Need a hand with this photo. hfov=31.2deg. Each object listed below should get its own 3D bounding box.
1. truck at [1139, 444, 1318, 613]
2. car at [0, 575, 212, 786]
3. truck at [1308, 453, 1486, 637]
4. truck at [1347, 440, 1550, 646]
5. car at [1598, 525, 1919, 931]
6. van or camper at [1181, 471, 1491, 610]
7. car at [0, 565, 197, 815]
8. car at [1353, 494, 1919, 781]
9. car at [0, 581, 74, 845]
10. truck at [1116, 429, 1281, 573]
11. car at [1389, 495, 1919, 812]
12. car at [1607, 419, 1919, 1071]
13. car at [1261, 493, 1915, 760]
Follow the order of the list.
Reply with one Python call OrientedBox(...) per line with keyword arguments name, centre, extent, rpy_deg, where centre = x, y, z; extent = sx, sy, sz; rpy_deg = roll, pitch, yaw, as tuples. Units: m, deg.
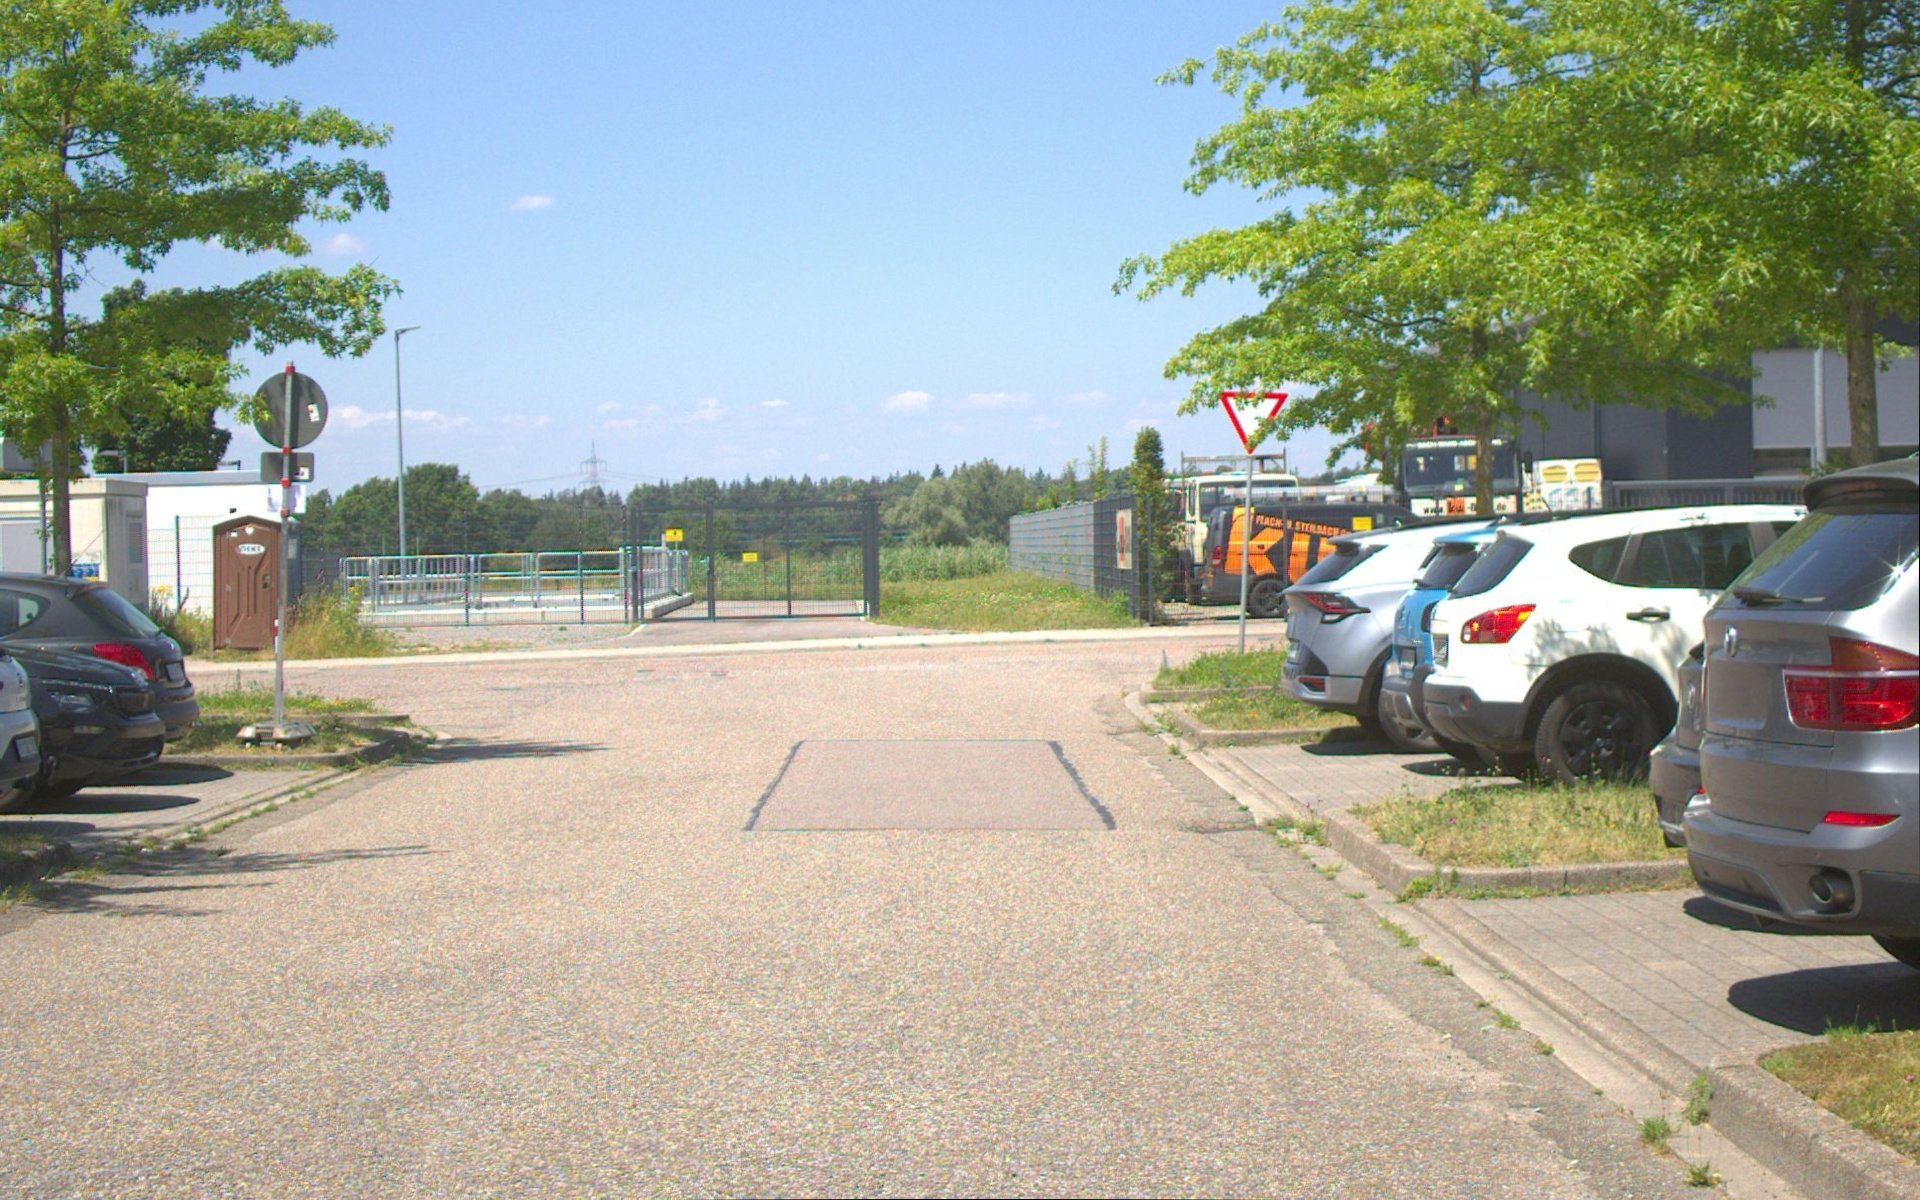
OrientedBox(name="truck", centre=(5.154, -1.396, 67.120), extent=(2.726, 3.051, 6.936), rpy_deg=(-2, 1, -1))
OrientedBox(name="car", centre=(-7.321, 0.540, 24.558), extent=(3.625, 1.431, 1.726), rpy_deg=(1, 1, -3))
OrientedBox(name="truck", centre=(9.849, -1.280, 78.199), extent=(2.921, 3.915, 6.936), rpy_deg=(-2, 1, -1))
OrientedBox(name="truck", centre=(9.872, -1.185, 70.184), extent=(2.921, 3.915, 6.936), rpy_deg=(-2, 1, -1))
OrientedBox(name="car", centre=(4.606, 0.395, 13.116), extent=(3.922, 1.405, 1.909), rpy_deg=(-2, 0, 0))
OrientedBox(name="van or camper", centre=(6.315, -1.027, 58.044), extent=(4.936, 2.156, 2.000), rpy_deg=(-2, 2, -1))
OrientedBox(name="car", centre=(-6.991, 0.531, 21.858), extent=(3.927, 1.515, 1.785), rpy_deg=(1, 1, -3))
OrientedBox(name="car", centre=(4.681, 0.203, 22.211), extent=(3.987, 1.638, 1.838), rpy_deg=(-2, 1, -1))
OrientedBox(name="car", centre=(-7.301, 0.597, 19.596), extent=(4.075, 1.419, 1.874), rpy_deg=(1, 1, -4))
OrientedBox(name="truck", centre=(5.165, -2.154, 75.627), extent=(2.921, 2.927, 6.936), rpy_deg=(-2, 1, -1))
OrientedBox(name="car", centre=(4.637, 0.254, 19.664), extent=(4.068, 1.602, 1.901), rpy_deg=(-3, 0, 1))
OrientedBox(name="car", centre=(4.440, 0.274, 10.452), extent=(4.448, 1.762, 1.993), rpy_deg=(-3, 1, -2))
OrientedBox(name="car", centre=(4.423, 0.165, 24.690), extent=(4.279, 1.638, 1.851), rpy_deg=(-3, 1, 0))
